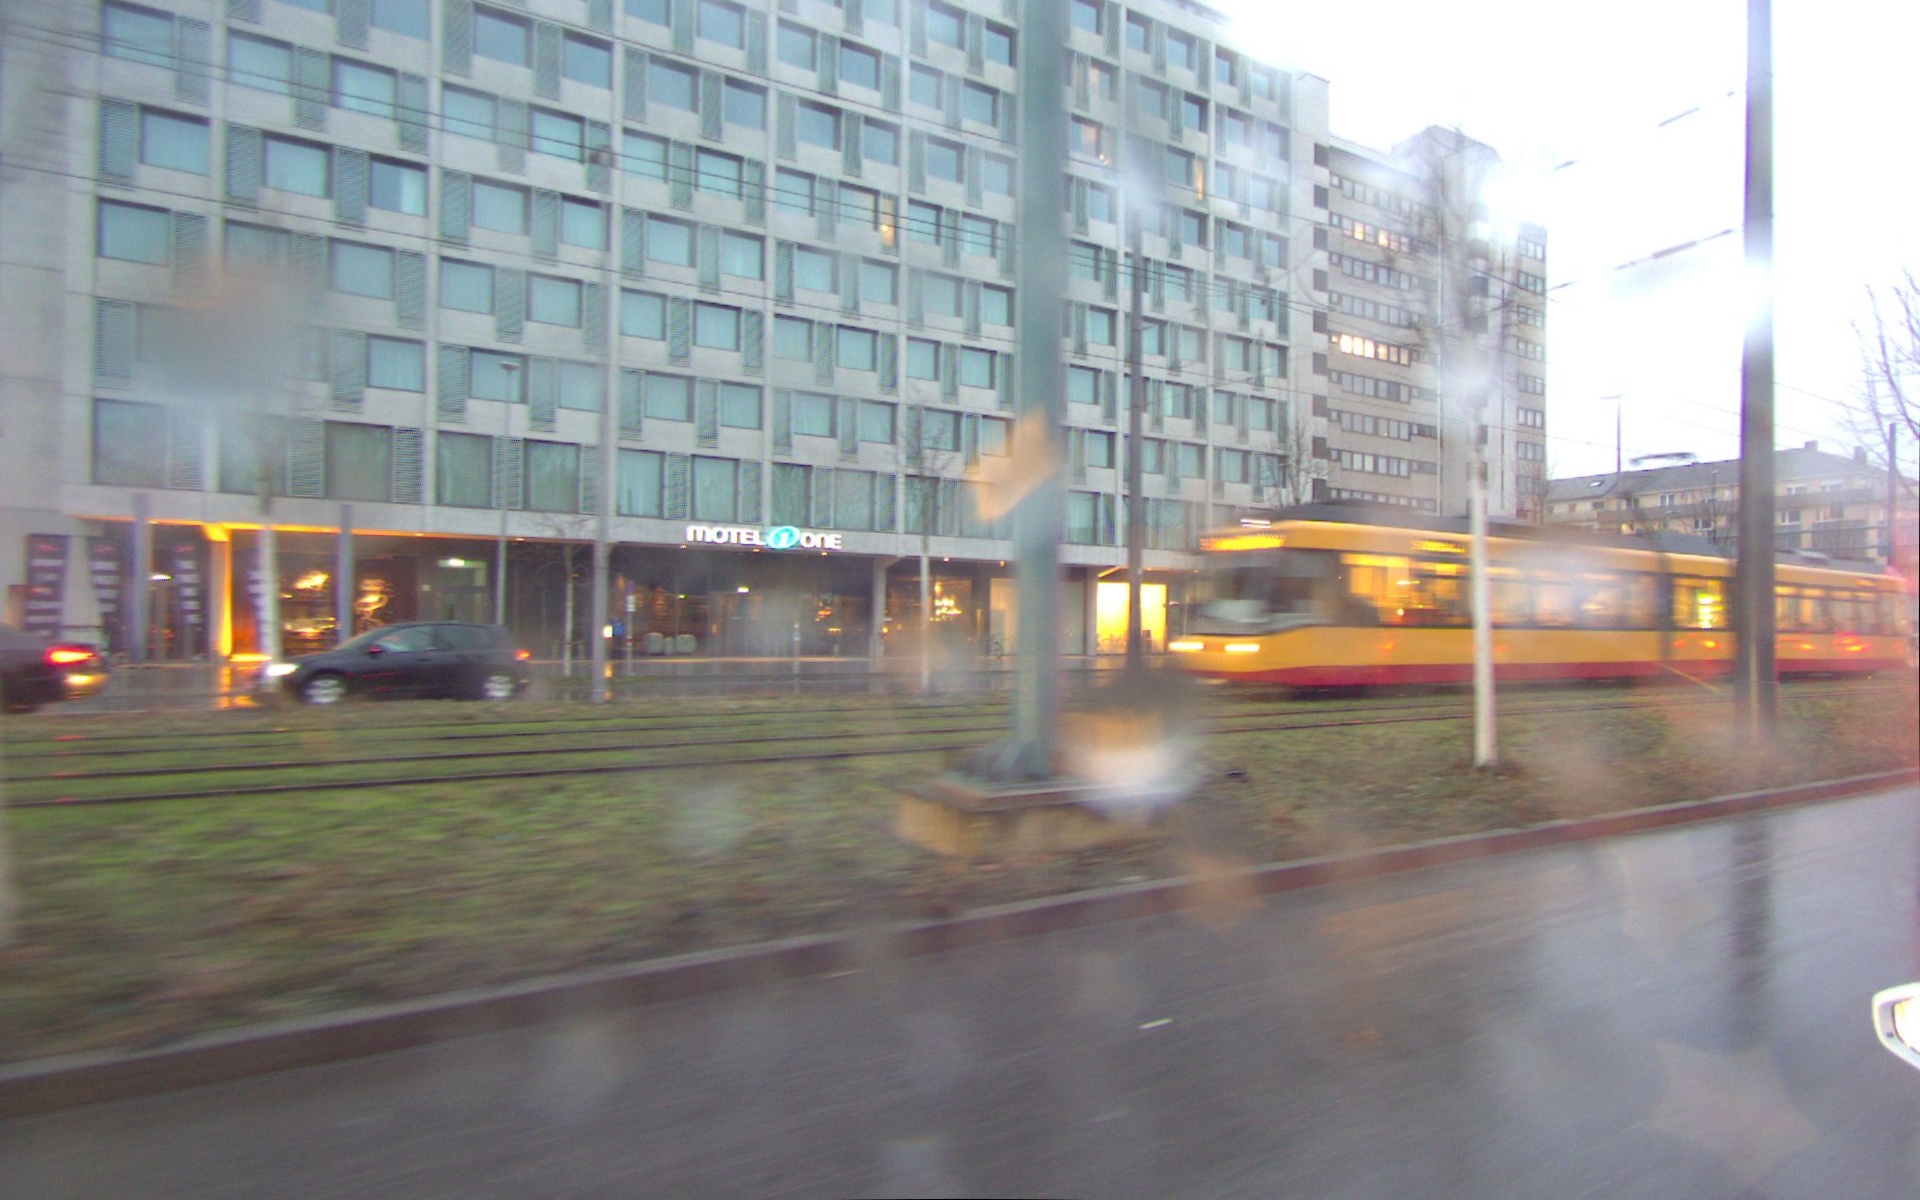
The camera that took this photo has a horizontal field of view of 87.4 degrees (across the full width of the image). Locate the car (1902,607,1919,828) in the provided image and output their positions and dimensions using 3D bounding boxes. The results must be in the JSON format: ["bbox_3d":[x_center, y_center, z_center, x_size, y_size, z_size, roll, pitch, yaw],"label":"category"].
[{"bbox_3d":[9.136,0.921,7.695,3.953,1.615,1.751,2,0,-30],"label":"car"}]

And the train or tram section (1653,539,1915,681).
[{"bbox_3d":[23.602,0.420,28.610,9.051,3.550,2.829,2,-2,-31],"label":"train or tram section"}]

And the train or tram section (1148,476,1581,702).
[{"bbox_3d":[8.006,-0.008,19.336,9.051,3.550,2.829,2,-2,-31],"label":"train or tram section"}]

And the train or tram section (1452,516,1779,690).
[{"bbox_3d":[15.810,0.227,23.975,9.051,3.550,2.829,2,-2,-31],"label":"train or tram section"}]

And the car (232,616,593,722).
[{"bbox_3d":[-9.153,1.080,17.148,5.062,1.481,1.973,2,0,-45],"label":"car"}]

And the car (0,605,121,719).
[{"bbox_3d":[-14.759,0.798,13.495,5.035,1.481,1.984,2,0,-30],"label":"car"}]
